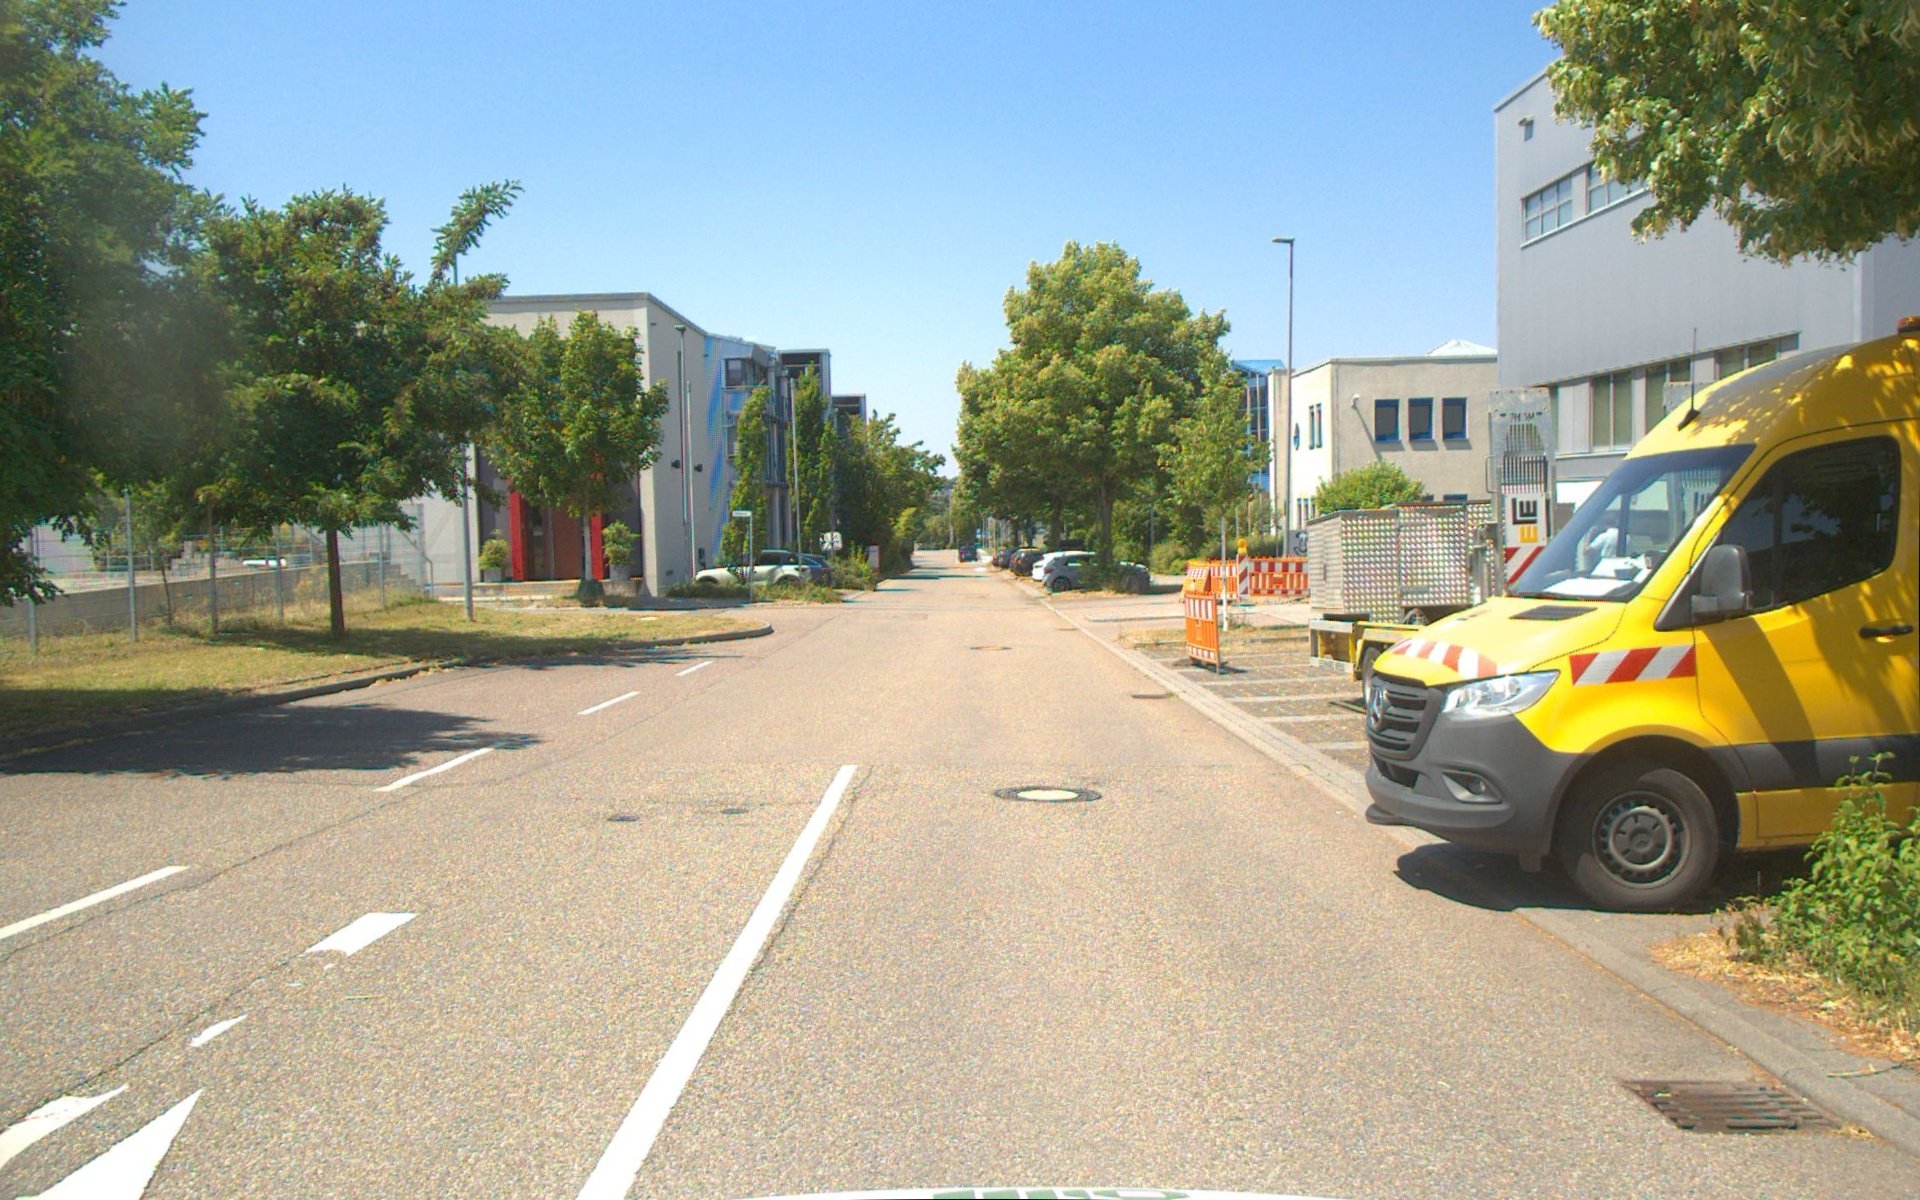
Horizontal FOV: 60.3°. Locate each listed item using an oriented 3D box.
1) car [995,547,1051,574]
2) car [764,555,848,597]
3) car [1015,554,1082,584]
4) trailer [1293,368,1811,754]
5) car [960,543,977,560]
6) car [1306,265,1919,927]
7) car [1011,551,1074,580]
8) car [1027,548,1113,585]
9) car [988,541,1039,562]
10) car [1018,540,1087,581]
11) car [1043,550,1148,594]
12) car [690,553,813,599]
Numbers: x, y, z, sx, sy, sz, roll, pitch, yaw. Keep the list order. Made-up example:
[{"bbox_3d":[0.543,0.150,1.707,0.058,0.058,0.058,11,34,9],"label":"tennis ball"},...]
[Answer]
[{"bbox_3d":[4.582,-2.870,120.217,3.857,1.866,1.765,-1,5,-8],"label":"car"},{"bbox_3d":[-5.606,-0.887,60.034,2.999,1.504,1.291,0,1,-7],"label":"car"},{"bbox_3d":[4.948,-1.767,92.972,3.646,1.655,1.814,0,1,0],"label":"car"},{"bbox_3d":[5.230,-0.380,15.767,2.604,2.906,5.517,-3,1,-4],"label":"trailer"},{"bbox_3d":[0.926,-5.048,171.577,1.725,1.786,3.945,0,1,1],"label":"car"},{"bbox_3d":[4.857,-0.179,8.347,5.661,2.779,2.001,-4,2,1],"label":"car"},{"bbox_3d":[4.882,-2.045,98.163,3.646,1.655,1.814,0,1,0],"label":"car"},{"bbox_3d":[4.667,-1.424,70.493,3.448,1.378,1.537,-3,2,-5],"label":"car"},{"bbox_3d":[4.274,-3.883,132.272,3.857,1.604,1.765,-1,5,-8],"label":"car"},{"bbox_3d":[4.975,-2.128,89.127,3.646,2.147,1.814,0,1,0],"label":"car"},{"bbox_3d":[4.955,-1.023,60.717,3.607,1.378,1.644,-3,2,-5],"label":"car"},{"bbox_3d":[-6.958,-0.819,55.487,3.965,1.521,1.728,0,1,-3],"label":"car"}]
